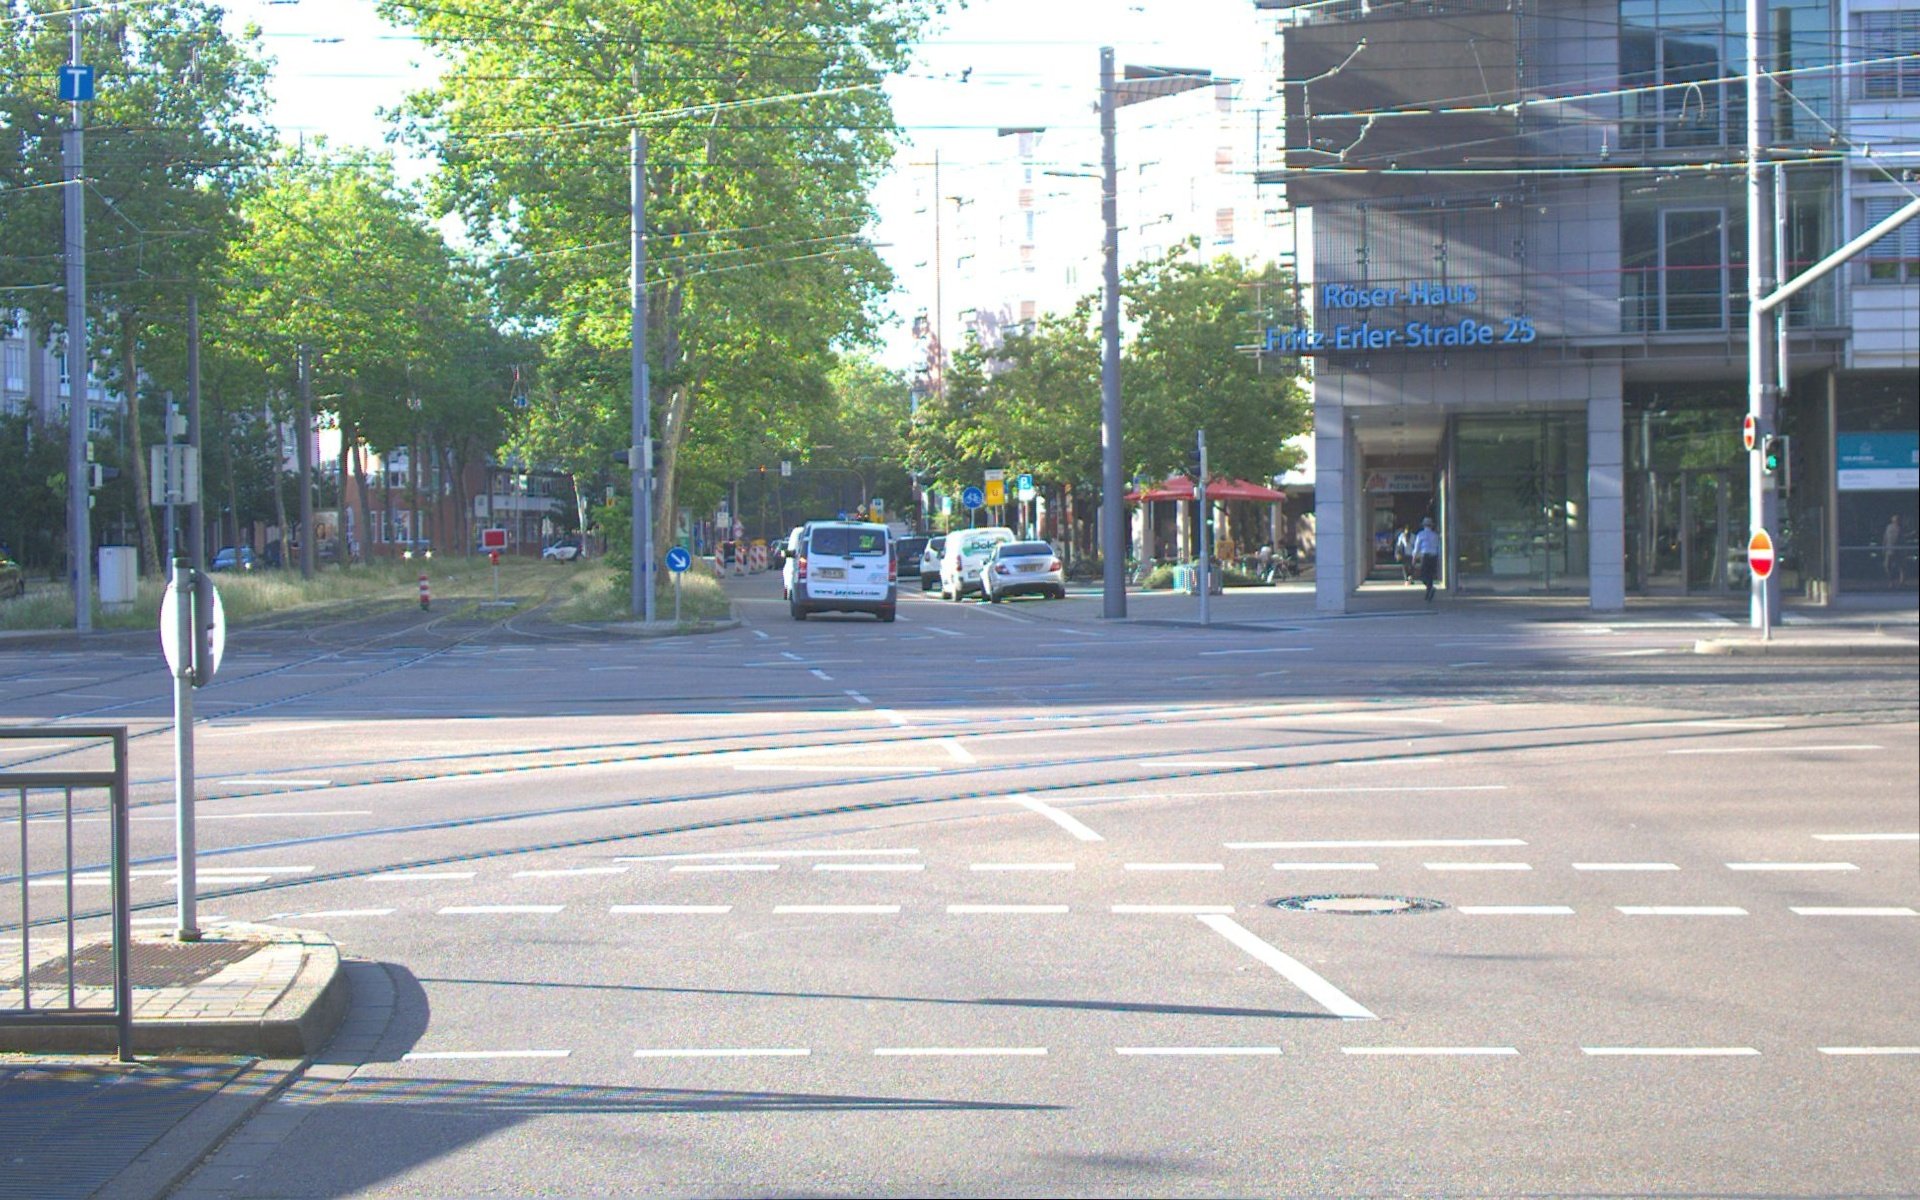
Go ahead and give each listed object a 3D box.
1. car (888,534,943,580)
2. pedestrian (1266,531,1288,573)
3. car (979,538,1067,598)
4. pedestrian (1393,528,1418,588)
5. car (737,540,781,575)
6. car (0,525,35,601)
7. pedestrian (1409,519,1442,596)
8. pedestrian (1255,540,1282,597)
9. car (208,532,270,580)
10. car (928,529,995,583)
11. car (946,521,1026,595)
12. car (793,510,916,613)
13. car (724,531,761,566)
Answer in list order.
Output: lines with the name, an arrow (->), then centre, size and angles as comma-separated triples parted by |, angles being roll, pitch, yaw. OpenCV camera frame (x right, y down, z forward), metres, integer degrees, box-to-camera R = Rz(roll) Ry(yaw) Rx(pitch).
car -> -1.637, -1.600, 126.666 | 1.993, 1.612, 4.000 | -1, 1, 0
pedestrian -> 9.808, -1.483, 106.291 | 0.577, 1.284, 0.910 | -1, 1, -1
car -> 1.496, -0.788, 82.775 | 1.993, 1.371, 4.000 | -1, 1, -1
pedestrian -> 11.305, -1.067, 87.239 | 0.612, 1.502, 0.579 | -1, 1, 7
car -> -8.567, -1.802, 146.945 | 1.797, 1.437, 4.000 | 1, 1, -2
car -> -21.662, -0.801, 74.924 | 1.993, 1.634, 4.000 | -1, 1, -1
pedestrian -> 9.152, -0.834, 67.593 | 0.612, 1.502, 0.579 | -1, 1, 6
pedestrian -> 9.414, -0.970, 105.014 | 0.744, 1.708, 0.612 | -1, 1, -1
car -> -30.841, -1.882, 147.168 | 1.993, 2.007, 4.001 | -1, 1, -3
car -> 0.041, -1.361, 105.215 | 1.993, 1.612, 4.000 | -1, 1, 0
car -> 0.652, -1.097, 89.570 | 1.993, 1.853, 4.000 | -1, 1, -1
car -> -1.949, -0.746, 65.039 | 1.961, 1.842, 5.330 | -1, 1, 2
car -> -12.983, -3.086, 205.090 | 1.993, 2.007, 4.000 | -1, 1, -1
